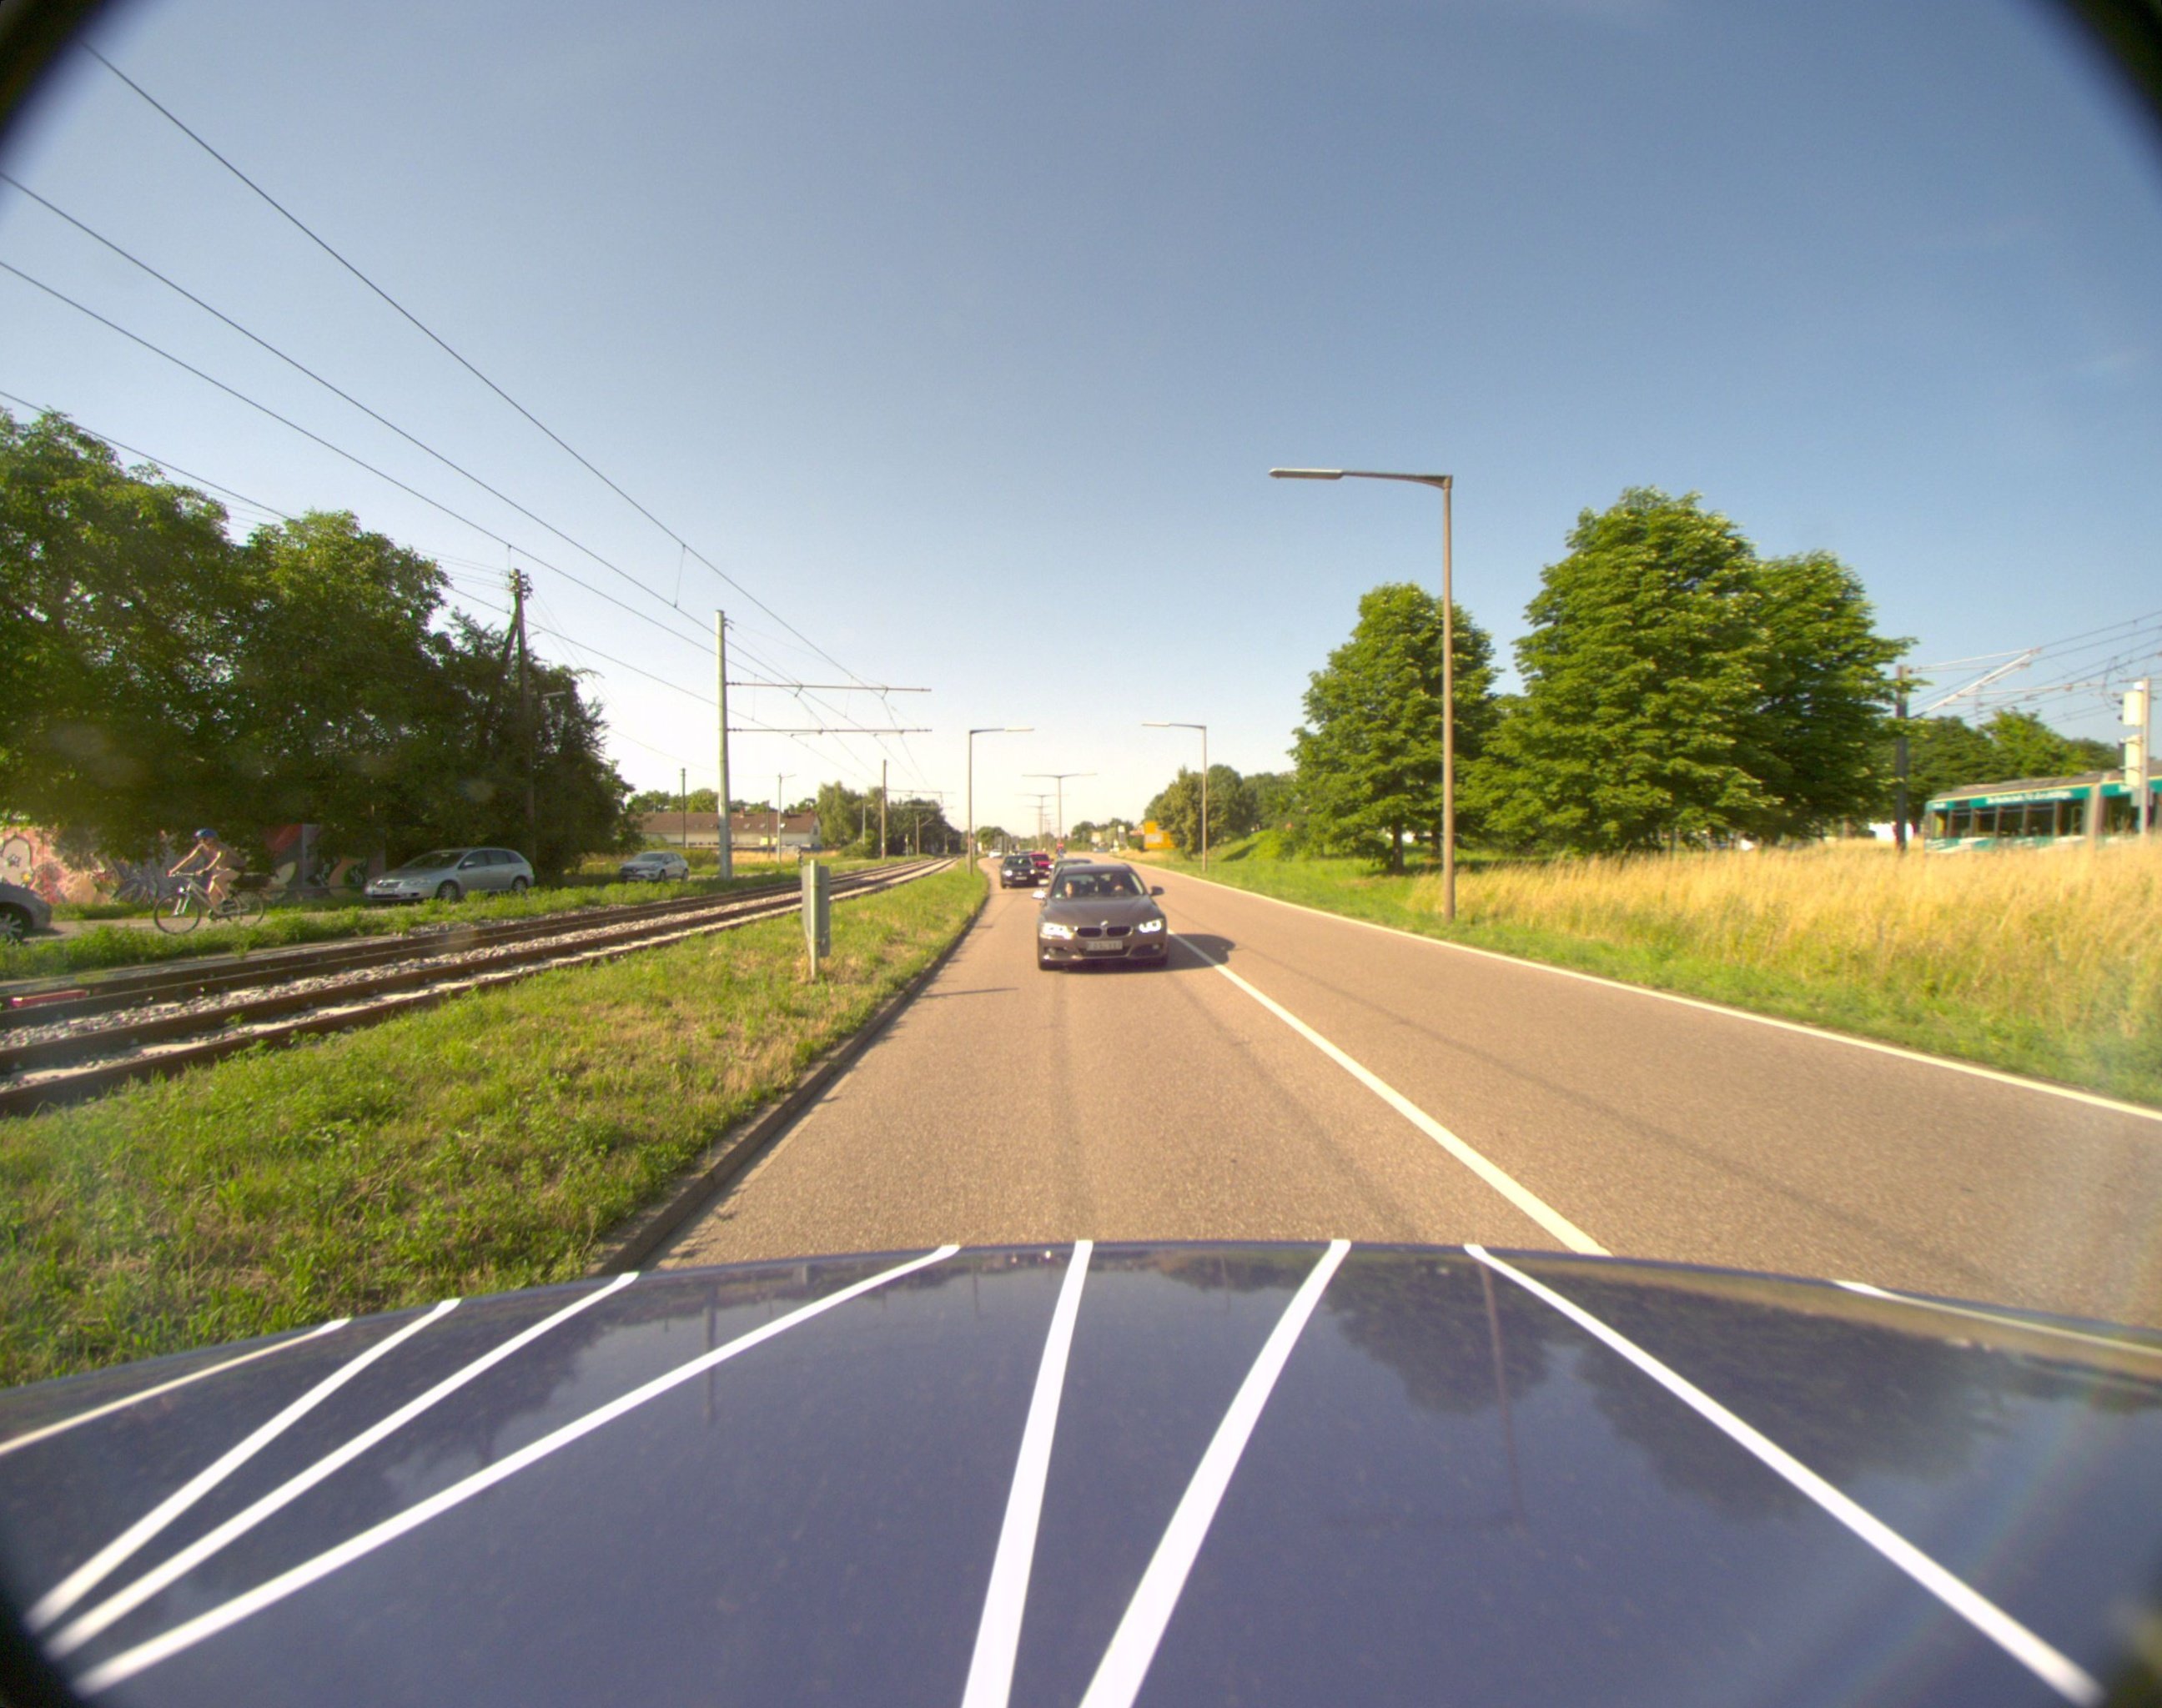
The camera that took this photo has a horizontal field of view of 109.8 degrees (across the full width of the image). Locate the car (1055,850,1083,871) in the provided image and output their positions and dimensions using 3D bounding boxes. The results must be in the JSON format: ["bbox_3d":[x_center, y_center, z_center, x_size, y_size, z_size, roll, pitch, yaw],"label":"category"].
[{"bbox_3d":[-0.972,0.496,61.193,1.969,1.504,4.806,-1,1,-4],"label":"car"}]

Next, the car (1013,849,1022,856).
[{"bbox_3d":[-14.912,-0.347,177.294,1.838,1.504,4.150,-2,0,-8],"label":"car"}]

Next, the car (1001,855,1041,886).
[{"bbox_3d":[-2.982,0.778,38.037,1.848,1.347,4.152,-2,0,-4],"label":"car"}]

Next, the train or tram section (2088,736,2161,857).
[{"bbox_3d":[30.672,-1.568,18.401,2.919,3.434,12.185,-1,1,29],"label":"train or tram section"}]

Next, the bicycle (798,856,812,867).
[{"bbox_3d":[-22.928,0.606,63.098,0.644,0.904,1.812,-2,1,-5],"label":"bicycle"}]

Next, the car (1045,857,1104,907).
[{"bbox_3d":[-0.144,0.854,25.098,1.710,1.444,4.590,-2,0,1],"label":"car"}]

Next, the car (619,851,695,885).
[{"bbox_3d":[-19.122,0.569,34.468,1.539,1.440,4.128,0,0,-7],"label":"car"}]

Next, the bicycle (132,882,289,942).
[{"bbox_3d":[-15.320,0.990,13.455,0.644,0.904,1.843,-1,1,-1],"label":"bicycle"}]

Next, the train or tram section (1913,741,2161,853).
[{"bbox_3d":[36.597,-1.945,28.994,2.952,3.464,12.186,-1,1,30],"label":"train or tram section"}]

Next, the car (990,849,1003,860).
[{"bbox_3d":[-13.147,0.115,118.747,1.969,1.609,4.305,-1,1,-6],"label":"car"}]

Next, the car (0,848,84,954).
[{"bbox_3d":[-17.008,0.712,10.224,1.527,1.601,4.481,0,0,-5],"label":"car"}]

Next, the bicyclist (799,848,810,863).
[{"bbox_3d":[-22.942,0.150,63.126,0.641,1.226,0.791,-2,1,-5],"label":"bicyclist"}]

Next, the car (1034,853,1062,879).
[{"bbox_3d":[-2.117,0.702,47.894,1.608,1.504,4.266,-2,0,-4],"label":"car"}]

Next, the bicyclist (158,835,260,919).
[{"bbox_3d":[-15.337,0.384,13.391,0.631,1.414,0.962,-1,1,-2],"label":"bicyclist"}]

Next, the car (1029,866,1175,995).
[{"bbox_3d":[0.206,0.974,11.348,1.747,1.444,3.946,-2,0,-2],"label":"car"}]

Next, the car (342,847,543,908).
[{"bbox_3d":[-18.338,0.596,22.196,1.912,1.581,4.726,0,0,0],"label":"car"}]

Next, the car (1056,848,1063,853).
[{"bbox_3d":[-6.656,-1.174,236.777,1.564,1.369,3.382,-3,2,-10],"label":"car"}]
